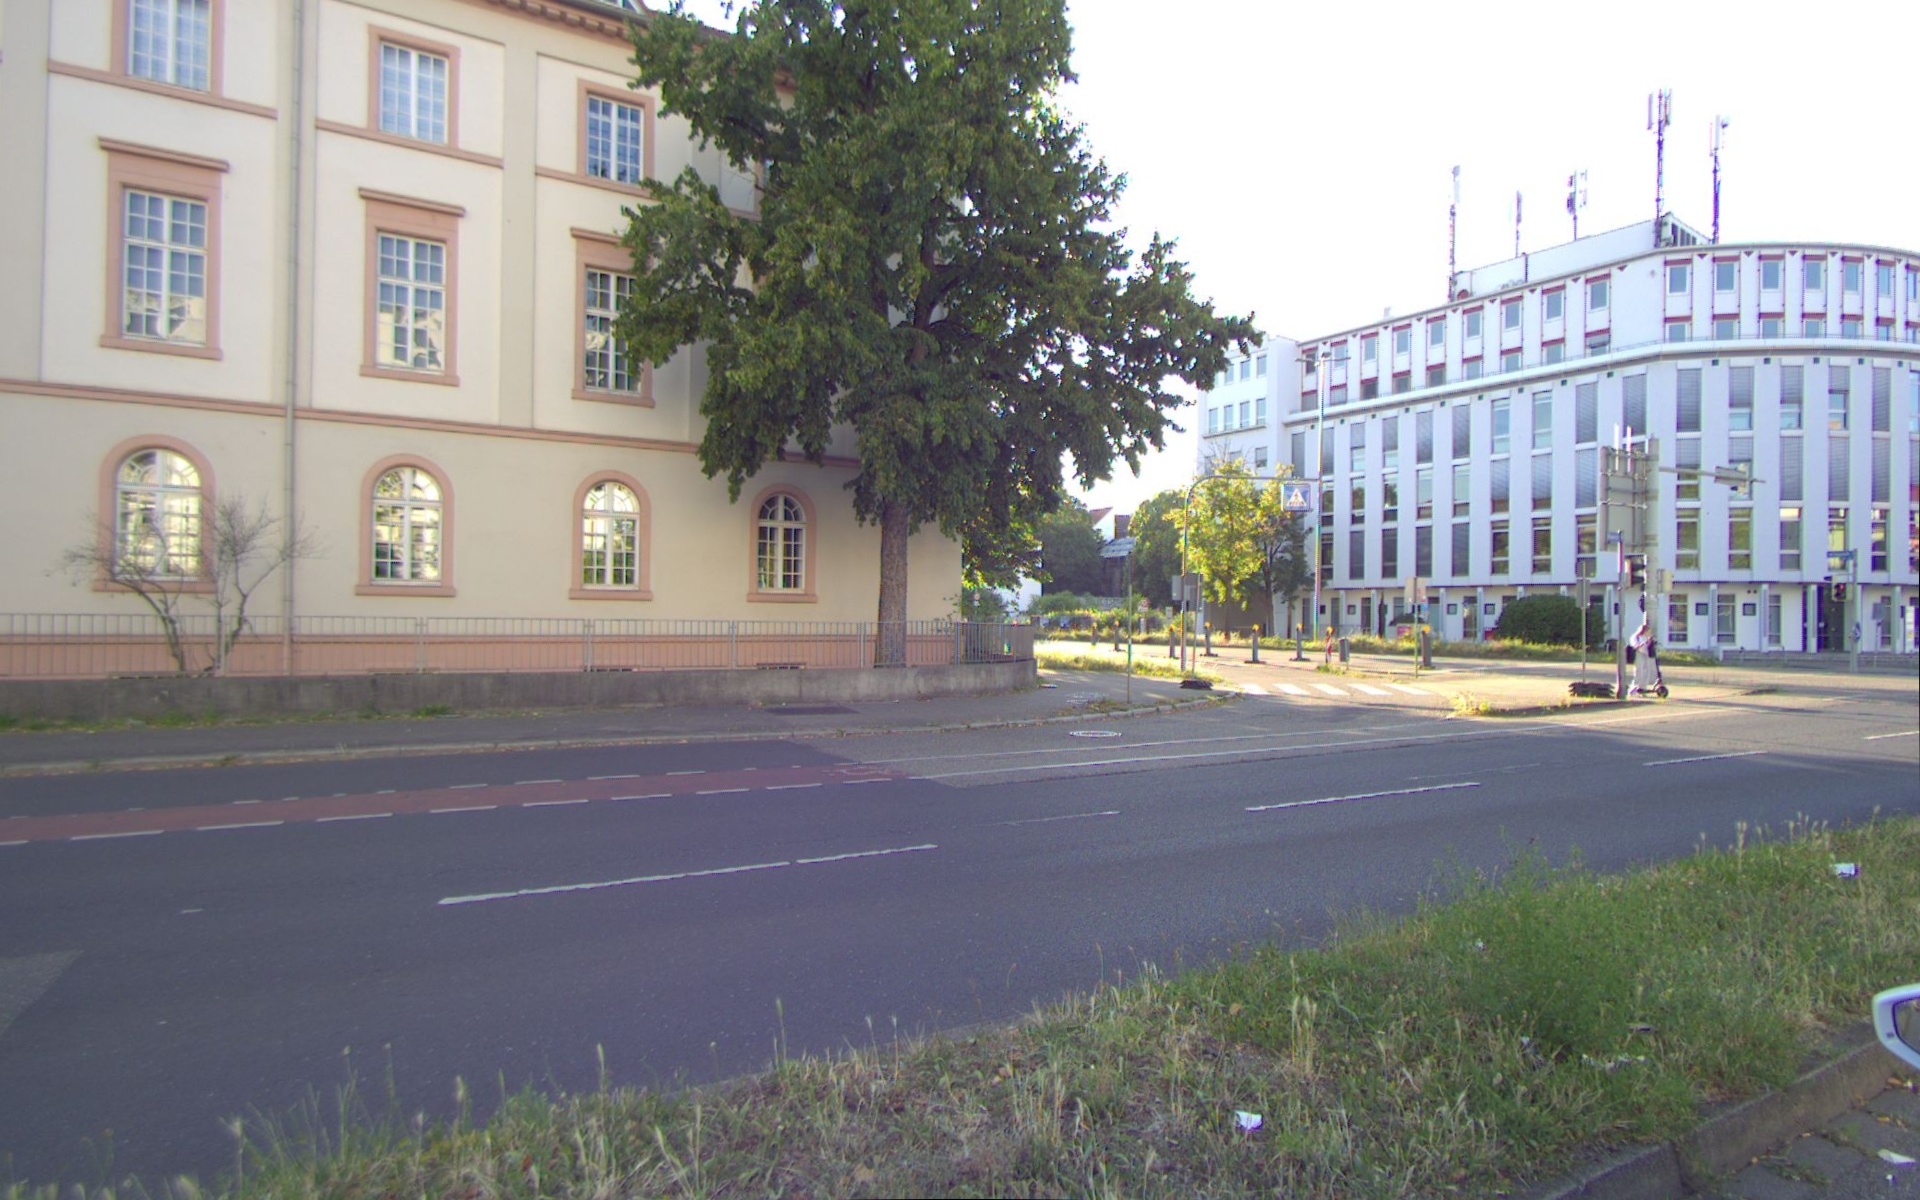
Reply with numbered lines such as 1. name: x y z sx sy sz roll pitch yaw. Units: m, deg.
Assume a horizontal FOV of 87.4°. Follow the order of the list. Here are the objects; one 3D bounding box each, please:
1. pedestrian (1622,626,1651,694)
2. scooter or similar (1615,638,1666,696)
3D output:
1. pedestrian: 15.373 1.360 22.823 0.332 1.525 0.470 1 -1 -41
2. scooter or similar: 15.278 1.494 22.552 0.368 1.250 0.885 1 -1 -40
